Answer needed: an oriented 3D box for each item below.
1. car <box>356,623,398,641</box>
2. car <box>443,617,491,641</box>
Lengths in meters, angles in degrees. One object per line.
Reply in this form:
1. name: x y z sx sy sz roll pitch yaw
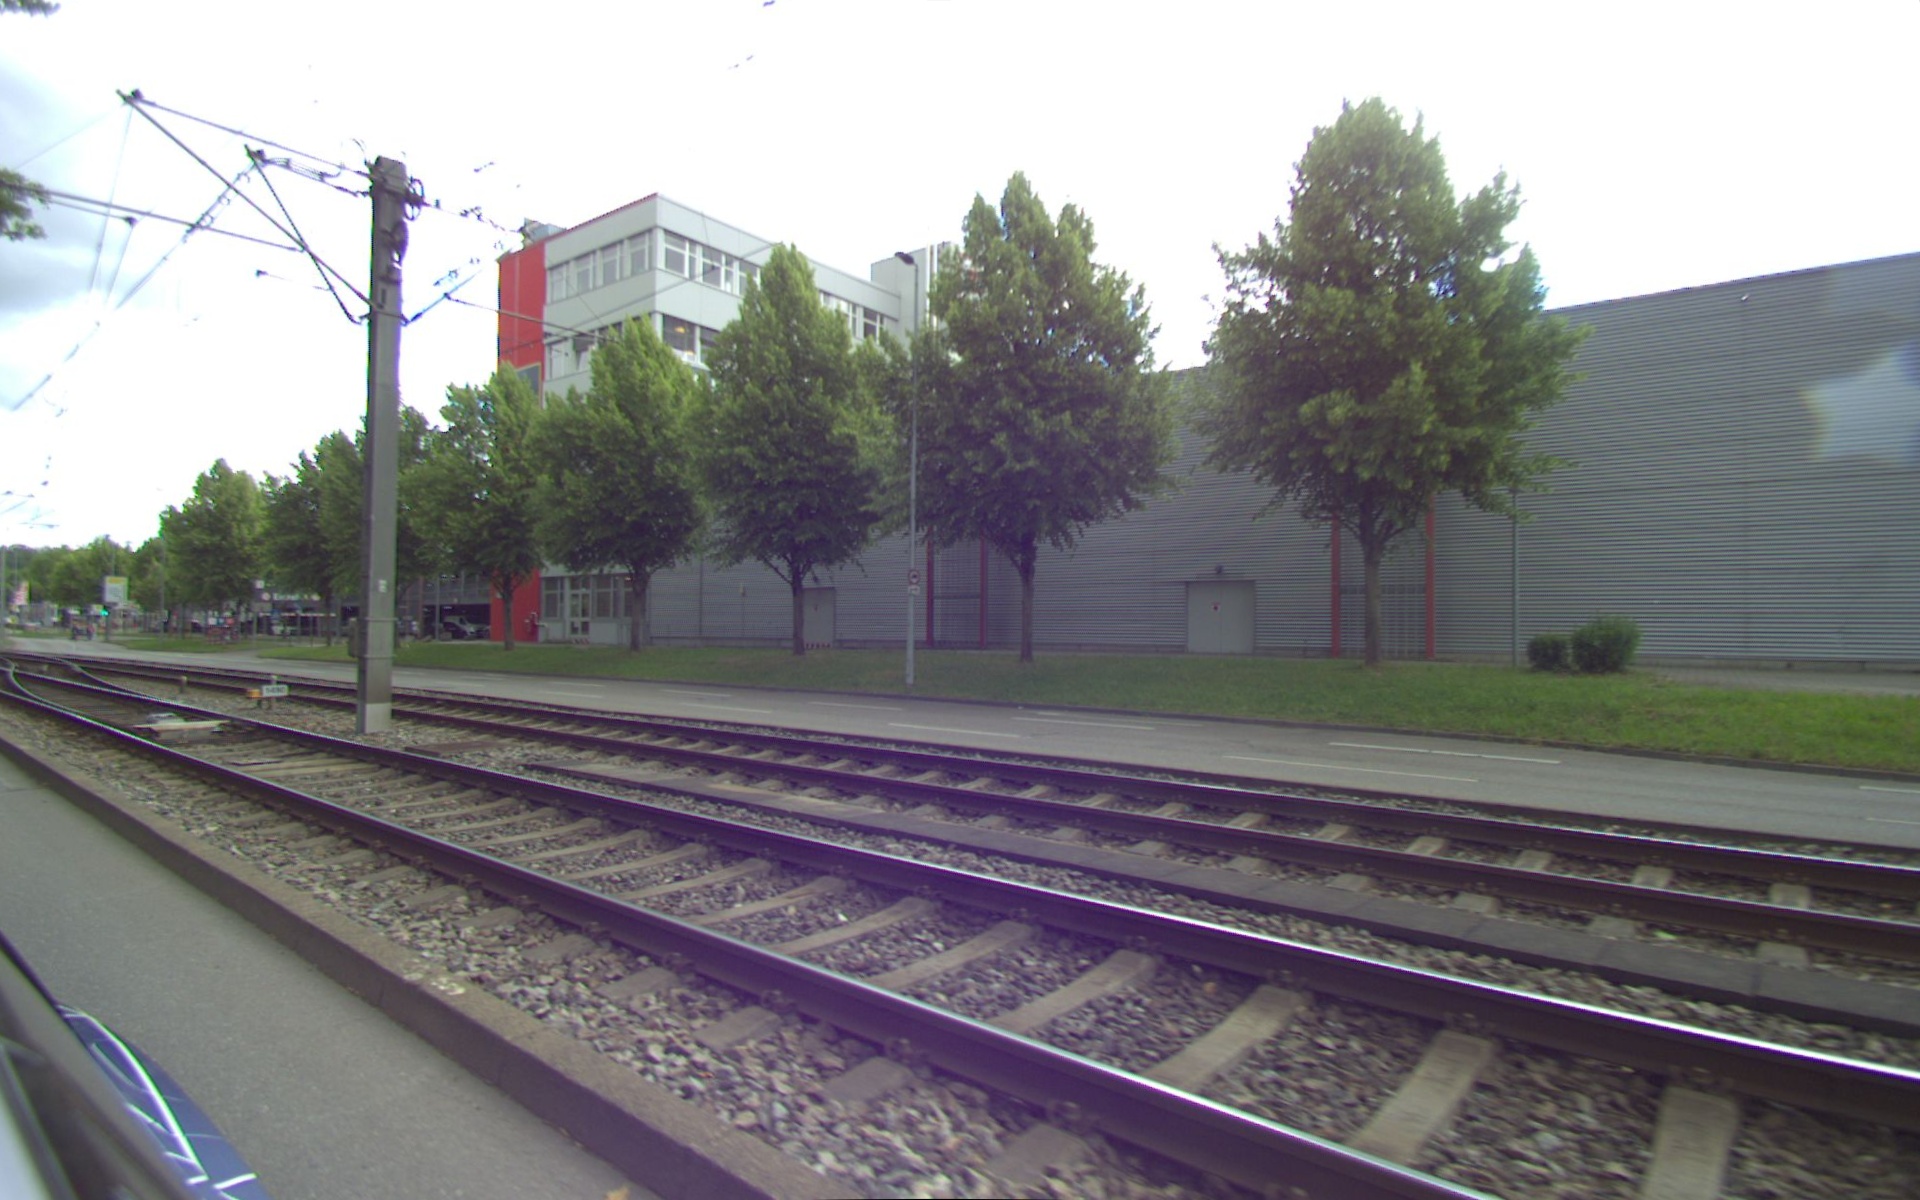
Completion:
1. car: -55.928 3.050 97.130 4.399 1.640 1.975 -1 -2 38
2. car: -42.614 2.499 87.433 4.399 2.029 1.975 -1 -2 38
